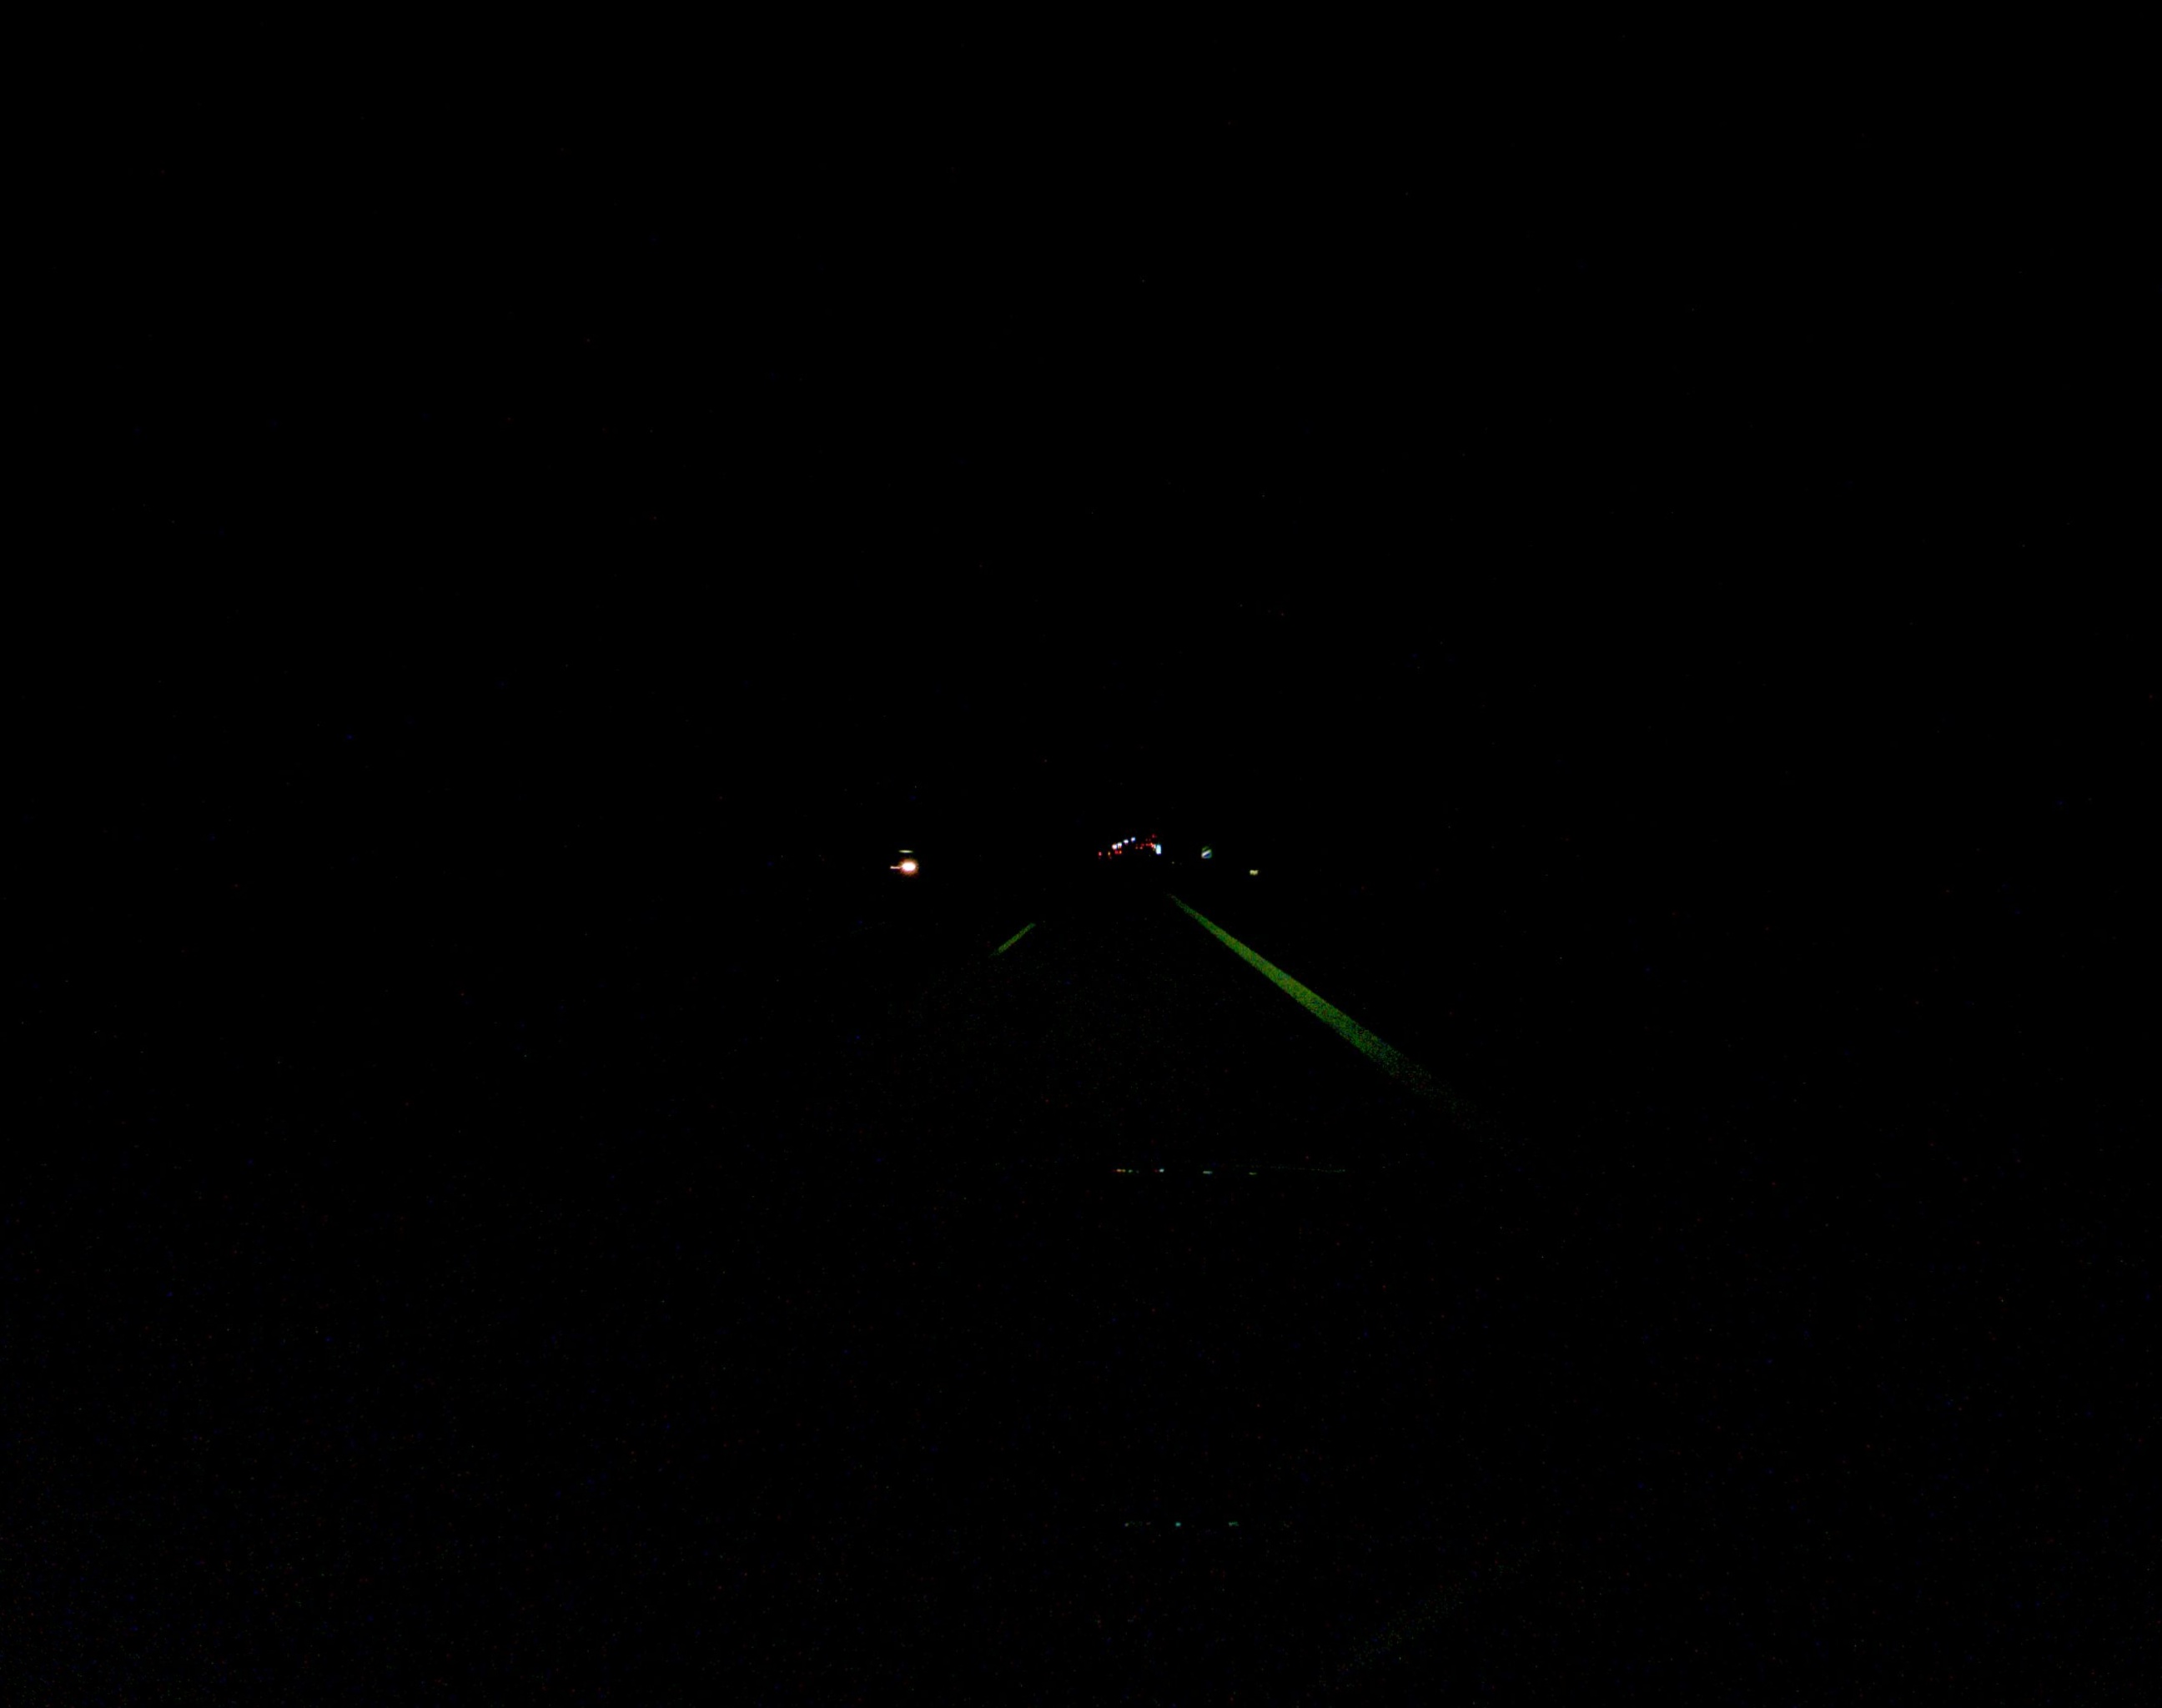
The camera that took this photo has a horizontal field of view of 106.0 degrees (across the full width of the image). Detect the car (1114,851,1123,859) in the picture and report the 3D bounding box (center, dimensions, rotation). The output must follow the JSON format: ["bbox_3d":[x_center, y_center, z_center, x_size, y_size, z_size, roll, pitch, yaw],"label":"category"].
[{"bbox_3d":[12.186,0.310,262.611,2.775,2.733,6.303,-1,0,3],"label":"car"}]

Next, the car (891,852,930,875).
[{"bbox_3d":[-18.473,1.017,88.729,2.380,2.452,6.679,0,-1,5],"label":"car"}]

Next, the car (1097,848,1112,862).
[{"bbox_3d":[4.632,0.183,158.647,2.776,2.733,6.300,-1,0,1],"label":"car"}]
